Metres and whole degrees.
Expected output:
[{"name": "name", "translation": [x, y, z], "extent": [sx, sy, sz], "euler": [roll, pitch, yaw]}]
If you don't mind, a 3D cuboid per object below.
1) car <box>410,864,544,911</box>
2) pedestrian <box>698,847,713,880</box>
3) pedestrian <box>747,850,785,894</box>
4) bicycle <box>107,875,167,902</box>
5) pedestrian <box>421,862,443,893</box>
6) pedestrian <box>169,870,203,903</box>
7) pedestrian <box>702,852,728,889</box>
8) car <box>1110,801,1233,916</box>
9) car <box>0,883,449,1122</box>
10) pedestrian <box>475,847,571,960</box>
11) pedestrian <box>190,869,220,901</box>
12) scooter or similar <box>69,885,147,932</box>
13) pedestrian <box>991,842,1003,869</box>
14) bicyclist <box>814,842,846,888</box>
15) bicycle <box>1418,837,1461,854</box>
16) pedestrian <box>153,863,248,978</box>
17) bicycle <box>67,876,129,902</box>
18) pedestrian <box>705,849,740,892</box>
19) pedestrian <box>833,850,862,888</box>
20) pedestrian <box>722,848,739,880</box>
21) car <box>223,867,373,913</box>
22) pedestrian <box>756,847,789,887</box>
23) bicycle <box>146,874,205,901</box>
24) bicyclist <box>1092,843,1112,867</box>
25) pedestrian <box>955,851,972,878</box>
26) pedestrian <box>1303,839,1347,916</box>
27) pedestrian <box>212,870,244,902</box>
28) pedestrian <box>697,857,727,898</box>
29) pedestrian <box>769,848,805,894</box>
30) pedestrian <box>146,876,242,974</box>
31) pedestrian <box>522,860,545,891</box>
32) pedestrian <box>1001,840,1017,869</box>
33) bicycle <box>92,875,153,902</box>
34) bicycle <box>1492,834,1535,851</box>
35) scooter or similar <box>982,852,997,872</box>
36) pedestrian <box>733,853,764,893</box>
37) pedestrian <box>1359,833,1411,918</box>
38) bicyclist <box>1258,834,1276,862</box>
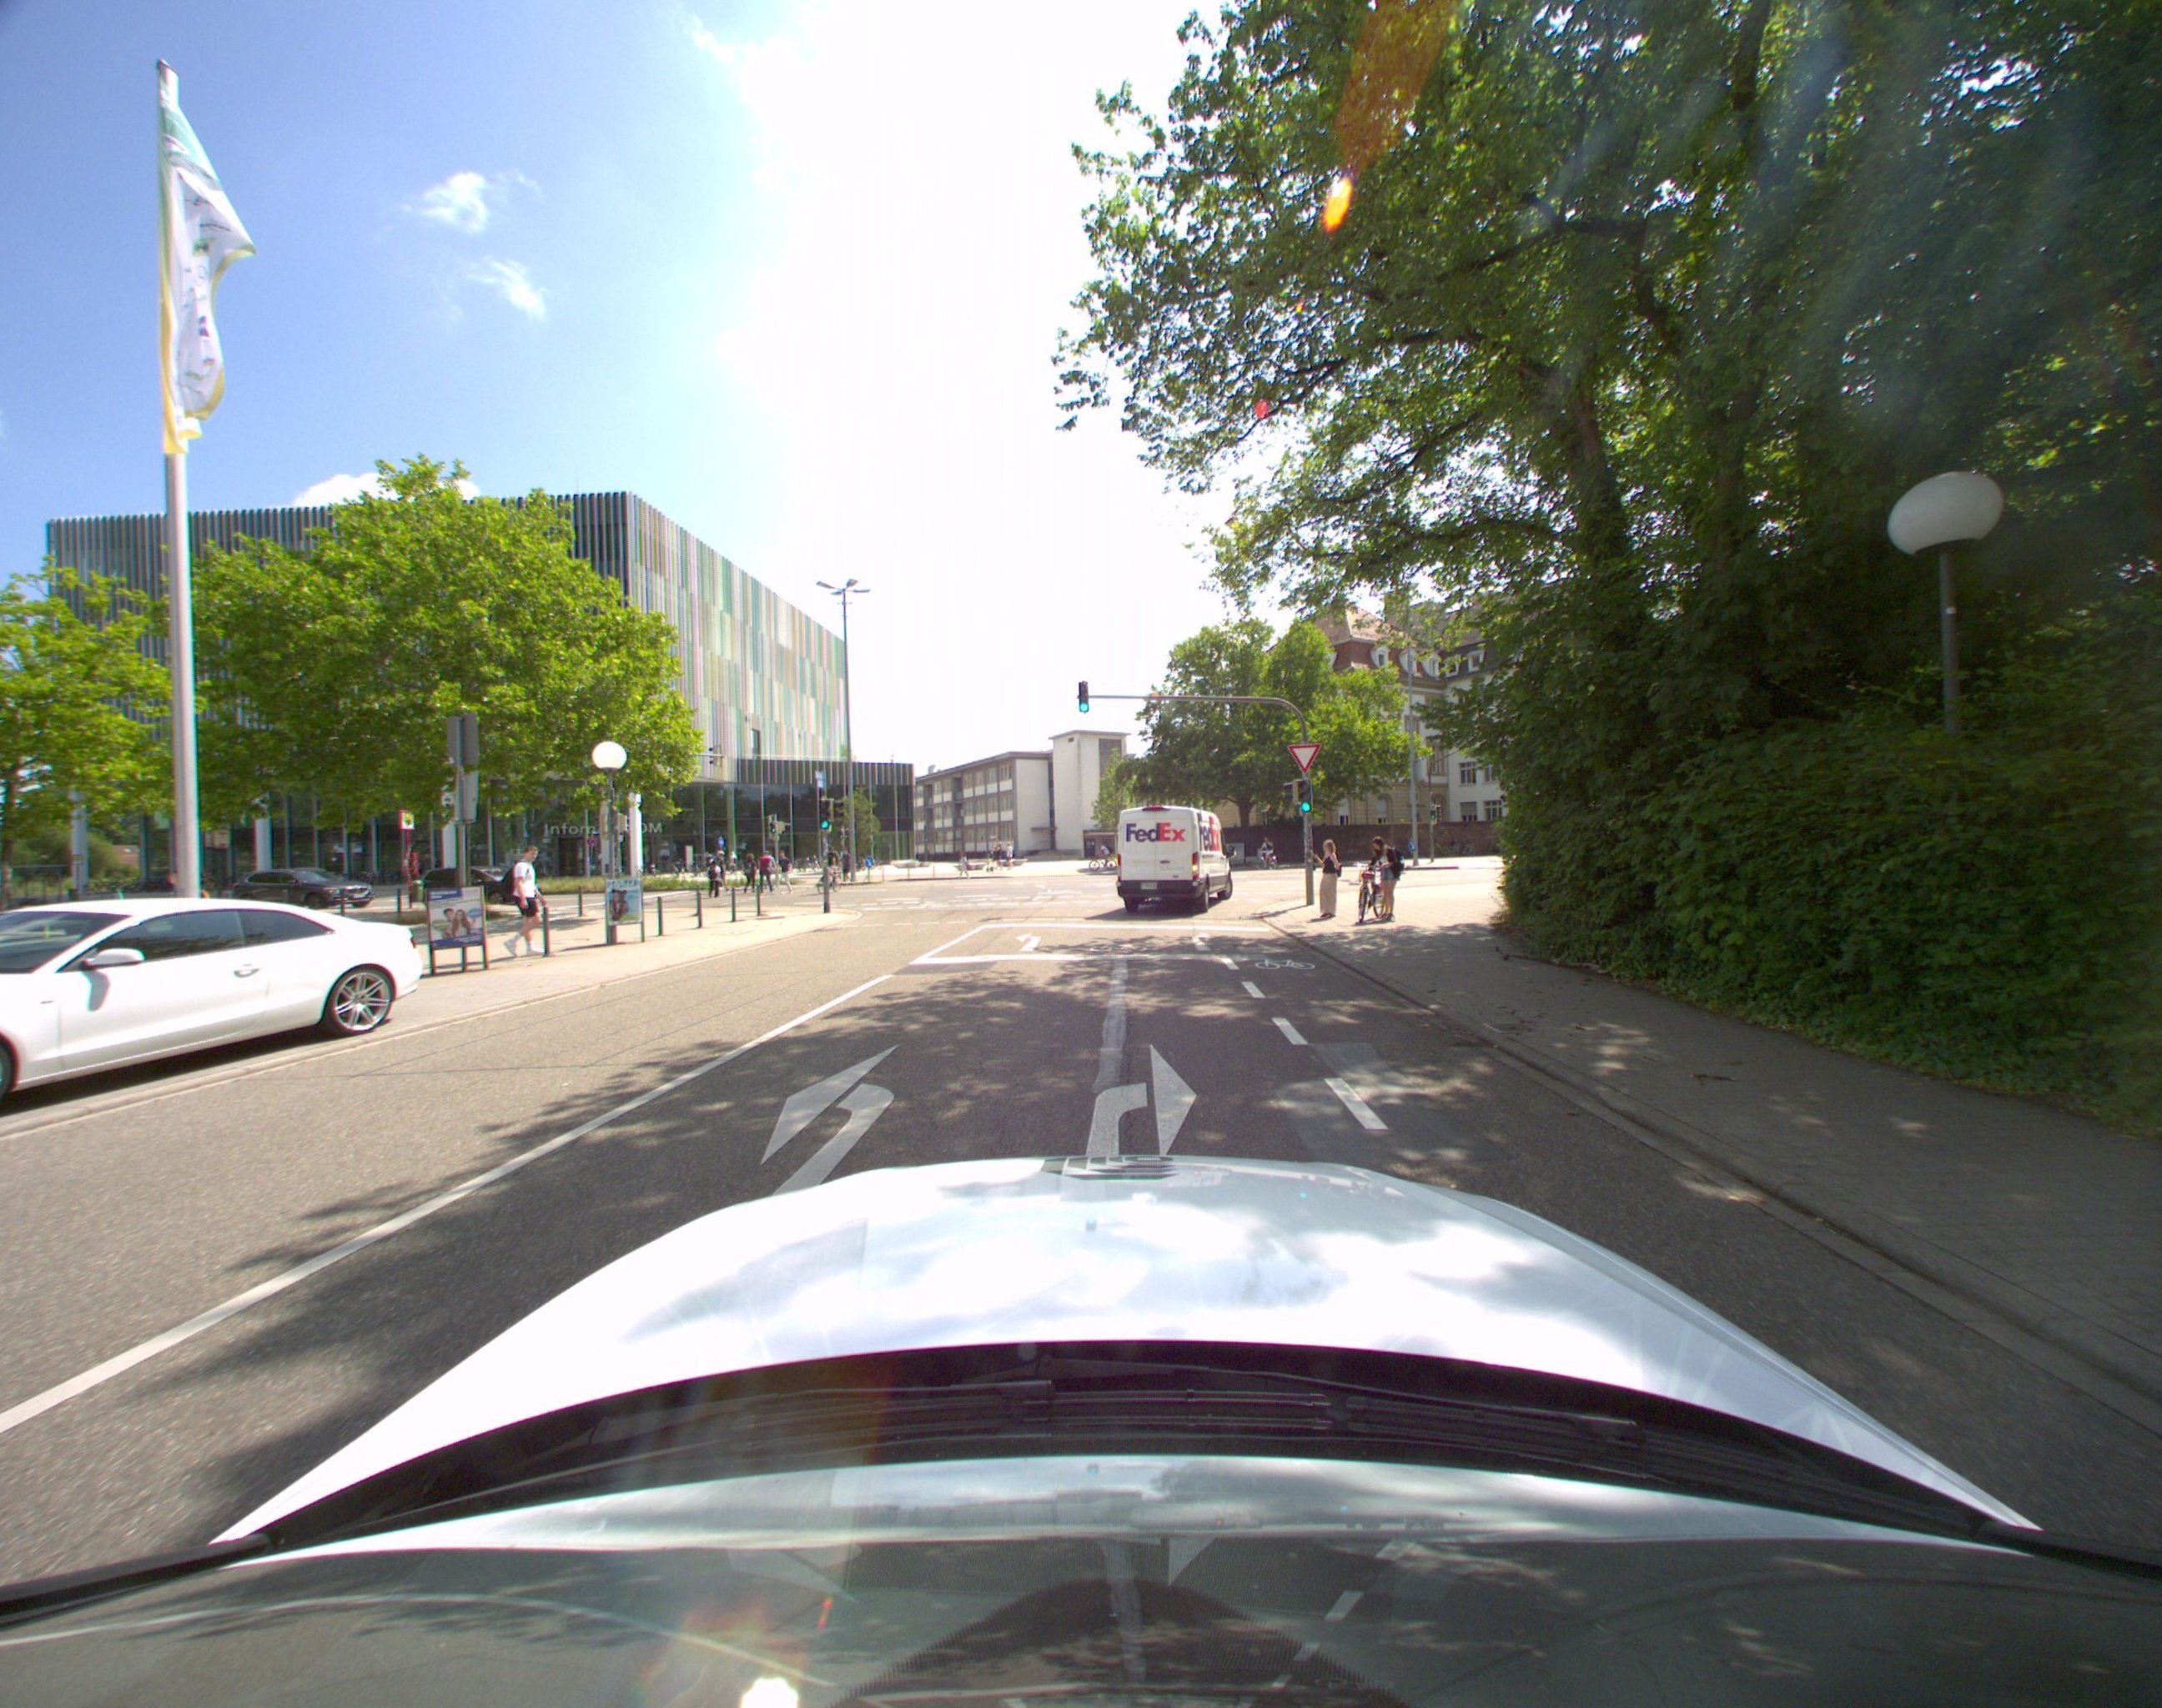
[{"name": "car", "translation": [-24.575, 1.352, 33.225], "extent": [4.262, 1.661, 1.655], "euler": [-2, 1, 4]}, {"name": "pedestrian", "translation": [-30.201, 0.766, 65.517], "extent": [0.979, 2.565, 1.004], "euler": [-1, 0, -33]}, {"name": "pedestrian", "translation": [-13.383, 0.760, 34.619], "extent": [0.799, 1.807, 1.274], "euler": [-2, 0, 21]}, {"name": "bicycle", "translation": [-70.840, 2.563, 61.164], "extent": [0.955, 1.838, 2.954], "euler": [-1, 0, 4]}, {"name": "pedestrian", "translation": [-50.057, 1.798, 62.802], "extent": [0.968, 2.345, 0.891], "euler": [-1, 0, 3]}, {"name": "pedestrian", "translation": [-61.106, 2.202, 55.609], "extent": [0.968, 2.176, 1.129], "euler": [-1, 0, 3]}, {"name": "pedestrian", "translation": [-17.038, 0.773, 37.928], "extent": [0.750, 1.678, 0.756], "euler": [-2, 0, 2]}, {"name": "car", "translation": [2.533, 0.065, 21.253], "extent": [2.078, 2.566, 5.628], "euler": [0, 1, 18]}, {"name": "car", "translation": [-7.827, 1.041, 6.516], "extent": [1.669, 1.395, 4.668], "euler": [0, 0, 4]}, {"name": "pedestrian", "translation": [-9.553, 0.816, 13.975], "extent": [0.713, 1.851, 1.094], "euler": [-2, 0, 21]}, {"name": "pedestrian", "translation": [-61.824, 2.176, 57.454], "extent": [0.968, 2.201, 1.015], "euler": [-1, 0, 3]}, {"name": "scooter or similar", "translation": [-26.325, 1.462, 22.035], "extent": [1.719, 1.196, 0.494], "euler": [-2, 0, 9]}, {"name": "pedestrian", "translation": [-5.722, 0.084, 55.573], "extent": [0.670, 1.815, 0.811], "euler": [-2, 0, -16]}, {"name": "bicyclist", "translation": [-10.292, 0.453, 33.439], "extent": [0.784, 1.817, 1.003], "euler": [-2, 0, 13]}, {"name": "bicycle", "translation": [22.808, -0.549, 51.858], "extent": [2.373, 0.994, 0.754], "euler": [-2, 0, -1]}, {"name": "pedestrian", "translation": [-14.897, 1.106, 13.795], "extent": [0.716, 1.859, 0.771], "euler": [-2, 0, 5]}, {"name": "bicycle", "translation": [-73.955, 2.608, 61.307], "extent": [0.955, 1.838, 2.954], "euler": [-1, 0, 4]}, {"name": "pedestrian", "translation": [-15.924, 0.717, 36.181], "extent": [0.845, 1.876, 1.012], "euler": [-2, 0, 26]}, {"name": "pedestrian", "translation": [-11.873, 0.741, 41.418], "extent": [0.822, 1.870, 1.091], "euler": [-2, 0, 27]}, {"name": "pedestrian", "translation": [-28.398, 0.804, 65.996], "extent": [0.981, 2.565, 1.003], "euler": [-1, 0, -39]}, {"name": "car", "translation": [-32.394, 1.488, 33.758], "extent": [4.788, 1.661, 1.655], "euler": [-2, 0, 4]}, {"name": "pedestrian", "translation": [-14.497, 0.617, 38.313], "extent": [0.853, 1.818, 1.103], "euler": [-2, 0, 27]}, {"name": "bicycle", "translation": [-67.800, 2.503, 61.041], "extent": [0.955, 1.838, 2.954], "euler": [-1, 0, 4]}, {"name": "bicyclist", "translation": [1.317, 0.046, 50.948], "extent": [0.841, 1.468, 1.075], "euler": [-2, 0, 27]}, {"name": "pedestrian", "translation": [-6.759, 0.593, 46.961], "extent": [0.826, 1.523, 0.810], "euler": [-2, 0, -16]}, {"name": "pedestrian", "translation": [5.171, 0.491, 17.322], "extent": [0.727, 1.575, 0.777], "euler": [-2, 0, 8]}, {"name": "pedestrian", "translation": [-58.920, 2.194, 56.241], "extent": [0.968, 2.176, 1.129], "euler": [-1, 0, 3]}, {"name": "pedestrian", "translation": [-15.100, 0.958, 33.350], "extent": [0.767, 1.597, 0.800], "euler": [-2, 0, 5]}, {"name": "pedestrian", "translation": [-12.376, 0.696, 34.311], "extent": [0.698, 1.855, 1.404], "euler": [-2, 2, 13]}, {"name": "pedestrian", "translation": [-15.715, 1.237, 14.443], "extent": [0.839, 1.651, 0.747], "euler": [-2, 0, 5]}, {"name": "pedestrian", "translation": [-42.419, 1.653, 63.111], "extent": [0.968, 2.345, 1.015], "euler": [-1, 0, 3]}, {"name": "pedestrian", "translation": [-4.856, 0.013, 54.877], "extent": [0.867, 1.889, 0.908], "euler": [-2, 0, -16]}, {"name": "bicycle", "translation": [-72.000, 2.586, 61.213], "extent": [0.955, 1.838, 2.954], "euler": [-1, 0, 4]}, {"name": "bicycle", "translation": [27.707, -0.747, 52.170], "extent": [2.373, 0.994, 0.754], "euler": [-2, 0, -1]}, {"name": "scooter or similar", "translation": [-5.887, 0.518, 52.264], "extent": [0.717, 1.178, 2.715], "euler": [-2, 1, -10]}, {"name": "pedestrian", "translation": [-14.471, 0.816, 35.482], "extent": [0.819, 1.654, 0.866], "euler": [-2, 1, 19]}, {"name": "pedestrian", "translation": [5.940, 0.412, 15.913], "extent": [0.717, 1.575, 0.738], "euler": [-5, -1, 31]}, {"name": "bicyclist", "translation": [9.723, -0.296, 42.629], "extent": [0.517, 1.452, 0.780], "euler": [-2, 0, -26]}]
